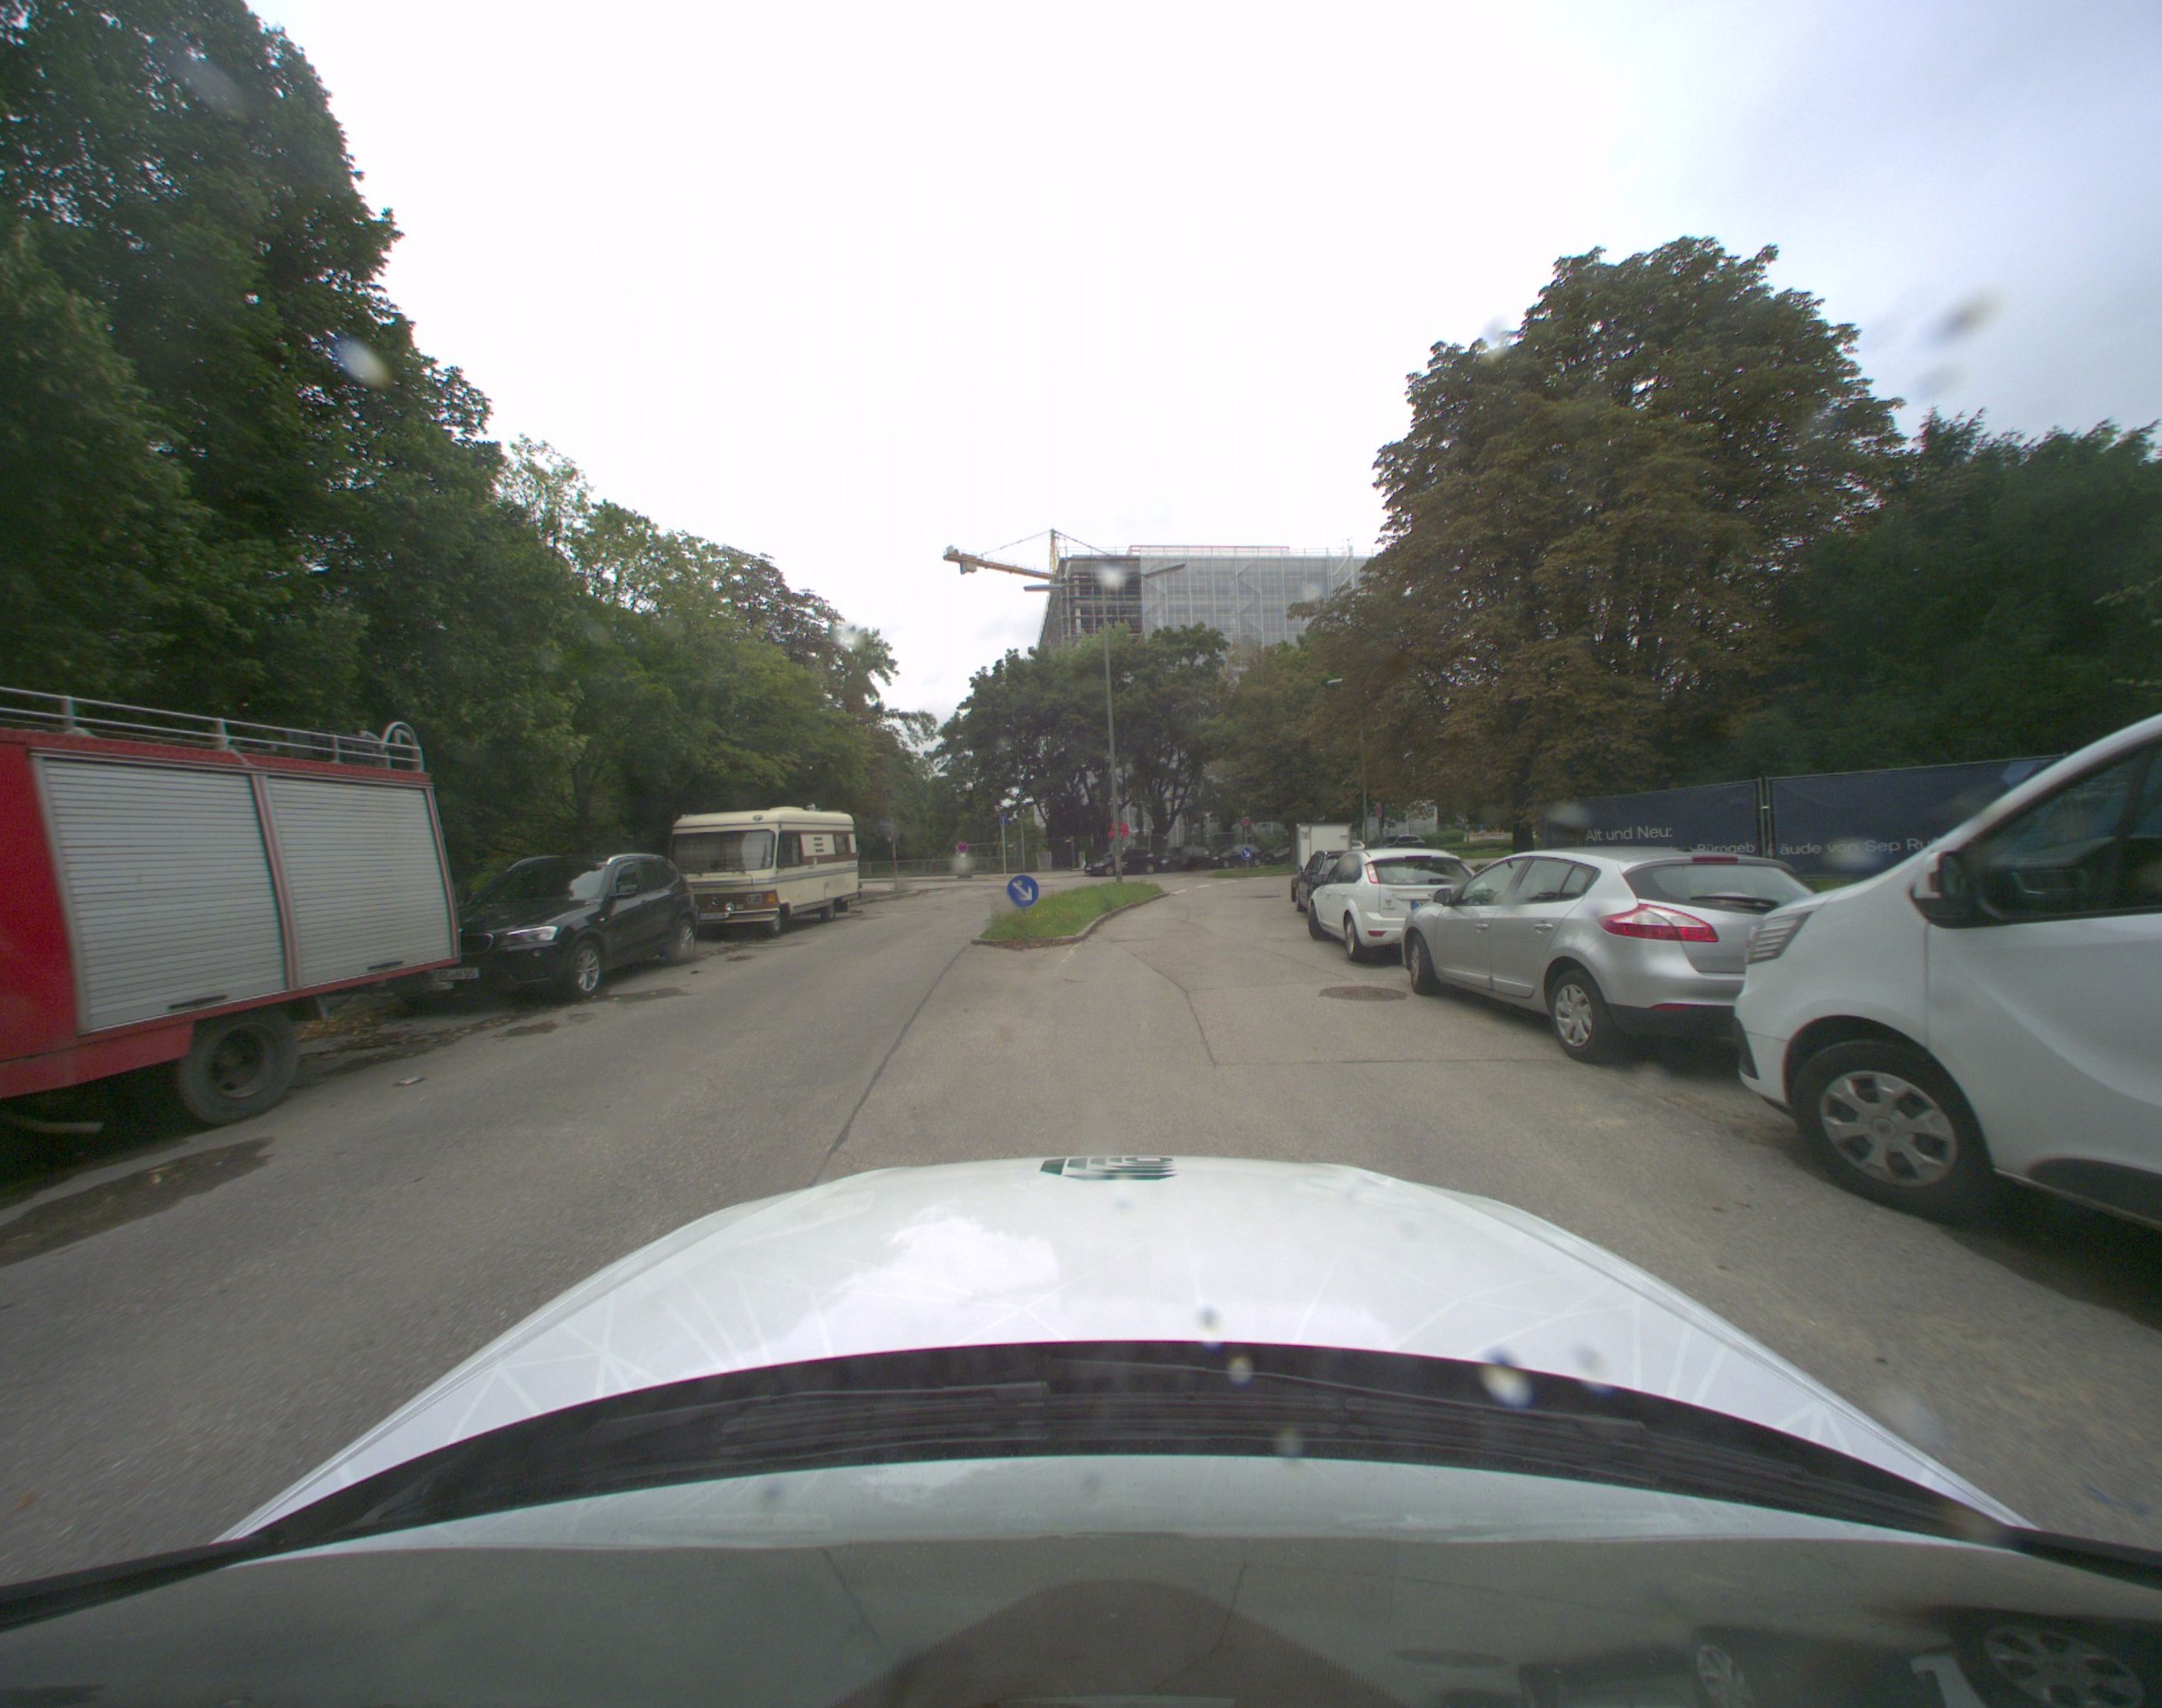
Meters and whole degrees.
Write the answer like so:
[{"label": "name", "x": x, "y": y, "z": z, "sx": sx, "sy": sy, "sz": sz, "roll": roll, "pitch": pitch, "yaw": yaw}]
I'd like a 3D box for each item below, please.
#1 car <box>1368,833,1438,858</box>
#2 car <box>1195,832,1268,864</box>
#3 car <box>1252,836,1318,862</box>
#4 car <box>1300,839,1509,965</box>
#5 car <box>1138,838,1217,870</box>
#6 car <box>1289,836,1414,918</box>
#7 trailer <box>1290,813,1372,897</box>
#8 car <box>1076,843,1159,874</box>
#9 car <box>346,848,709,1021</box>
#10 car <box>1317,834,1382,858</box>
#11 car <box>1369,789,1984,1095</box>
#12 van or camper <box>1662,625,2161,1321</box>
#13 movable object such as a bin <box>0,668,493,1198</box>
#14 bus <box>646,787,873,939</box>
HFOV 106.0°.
[{"label": "car", "x": 22.167, "y": -0.604, "z": 56.086, "sx": 4.400, "sy": 1.606, "sz": 1.877, "roll": -1, "pitch": -1, "yaw": -23}, {"label": "car", "x": 9.060, "y": -0.347, "z": 48.945, "sx": 4.016, "sy": 1.706, "sz": 1.979, "roll": -3, "pitch": 0, "yaw": -34}, {"label": "car", "x": 12.951, "y": -0.303, "z": 51.626, "sx": 4.022, "sy": 1.460, "sz": 1.821, "roll": -3, "pitch": 0, "yaw": -34}, {"label": "car", "x": 4.538, "y": 0.572, "z": 12.135, "sx": 1.758, "sy": 1.486, "sz": 4.228, "roll": -3, "pitch": 0, "yaw": 6}, {"label": "car", "x": 5.449, "y": -0.007, "z": 45.910, "sx": 4.016, "sy": 1.541, "sz": 1.979, "roll": -3, "pitch": 0, "yaw": -34}, {"label": "car", "x": 5.667, "y": 0.402, "z": 17.571, "sx": 1.860, "sy": 1.437, "sz": 4.341, "roll": -4, "pitch": 0, "yaw": 10}, {"label": "trailer", "x": 7.039, "y": 0.001, "z": 22.616, "sx": 1.793, "sy": 2.013, "sz": 4.859, "roll": -3, "pitch": 0, "yaw": 21}, {"label": "car", "x": 1.966, "y": 0.190, "z": 43.612, "sx": 4.058, "sy": 1.432, "sz": 1.980, "roll": -3, "pitch": 2, "yaw": -33}, {"label": "car", "x": -6.578, "y": 0.790, "z": 10.432, "sx": 1.773, "sy": 1.649, "sz": 4.453, "roll": -3, "pitch": 0, "yaw": -4}, {"label": "car", "x": 18.000, "y": -0.537, "z": 54.539, "sx": 4.232, "sy": 1.383, "sz": 1.784, "roll": -3, "pitch": 0, "yaw": -31}, {"label": "car", "x": 4.247, "y": 0.506, "z": 6.952, "sx": 1.987, "sy": 1.728, "sz": 4.449, "roll": -1, "pitch": 0, "yaw": 0}, {"label": "van or camper", "x": 4.133, "y": 0.336, "z": 1.643, "sx": 1.988, "sy": 2.013, "sz": 5.373, "roll": -1, "pitch": 0, "yaw": -2}, {"label": "movable object such as a bin", "x": -6.085, "y": 0.405, "z": 3.915, "sx": 2.099, "sy": 2.458, "sz": 6.181, "roll": -3, "pitch": 0, "yaw": -2}, {"label": "bus", "x": -6.669, "y": 0.144, "z": 17.896, "sx": 2.305, "sy": 2.699, "sz": 5.739, "roll": -3, "pitch": 0, "yaw": 3}]
